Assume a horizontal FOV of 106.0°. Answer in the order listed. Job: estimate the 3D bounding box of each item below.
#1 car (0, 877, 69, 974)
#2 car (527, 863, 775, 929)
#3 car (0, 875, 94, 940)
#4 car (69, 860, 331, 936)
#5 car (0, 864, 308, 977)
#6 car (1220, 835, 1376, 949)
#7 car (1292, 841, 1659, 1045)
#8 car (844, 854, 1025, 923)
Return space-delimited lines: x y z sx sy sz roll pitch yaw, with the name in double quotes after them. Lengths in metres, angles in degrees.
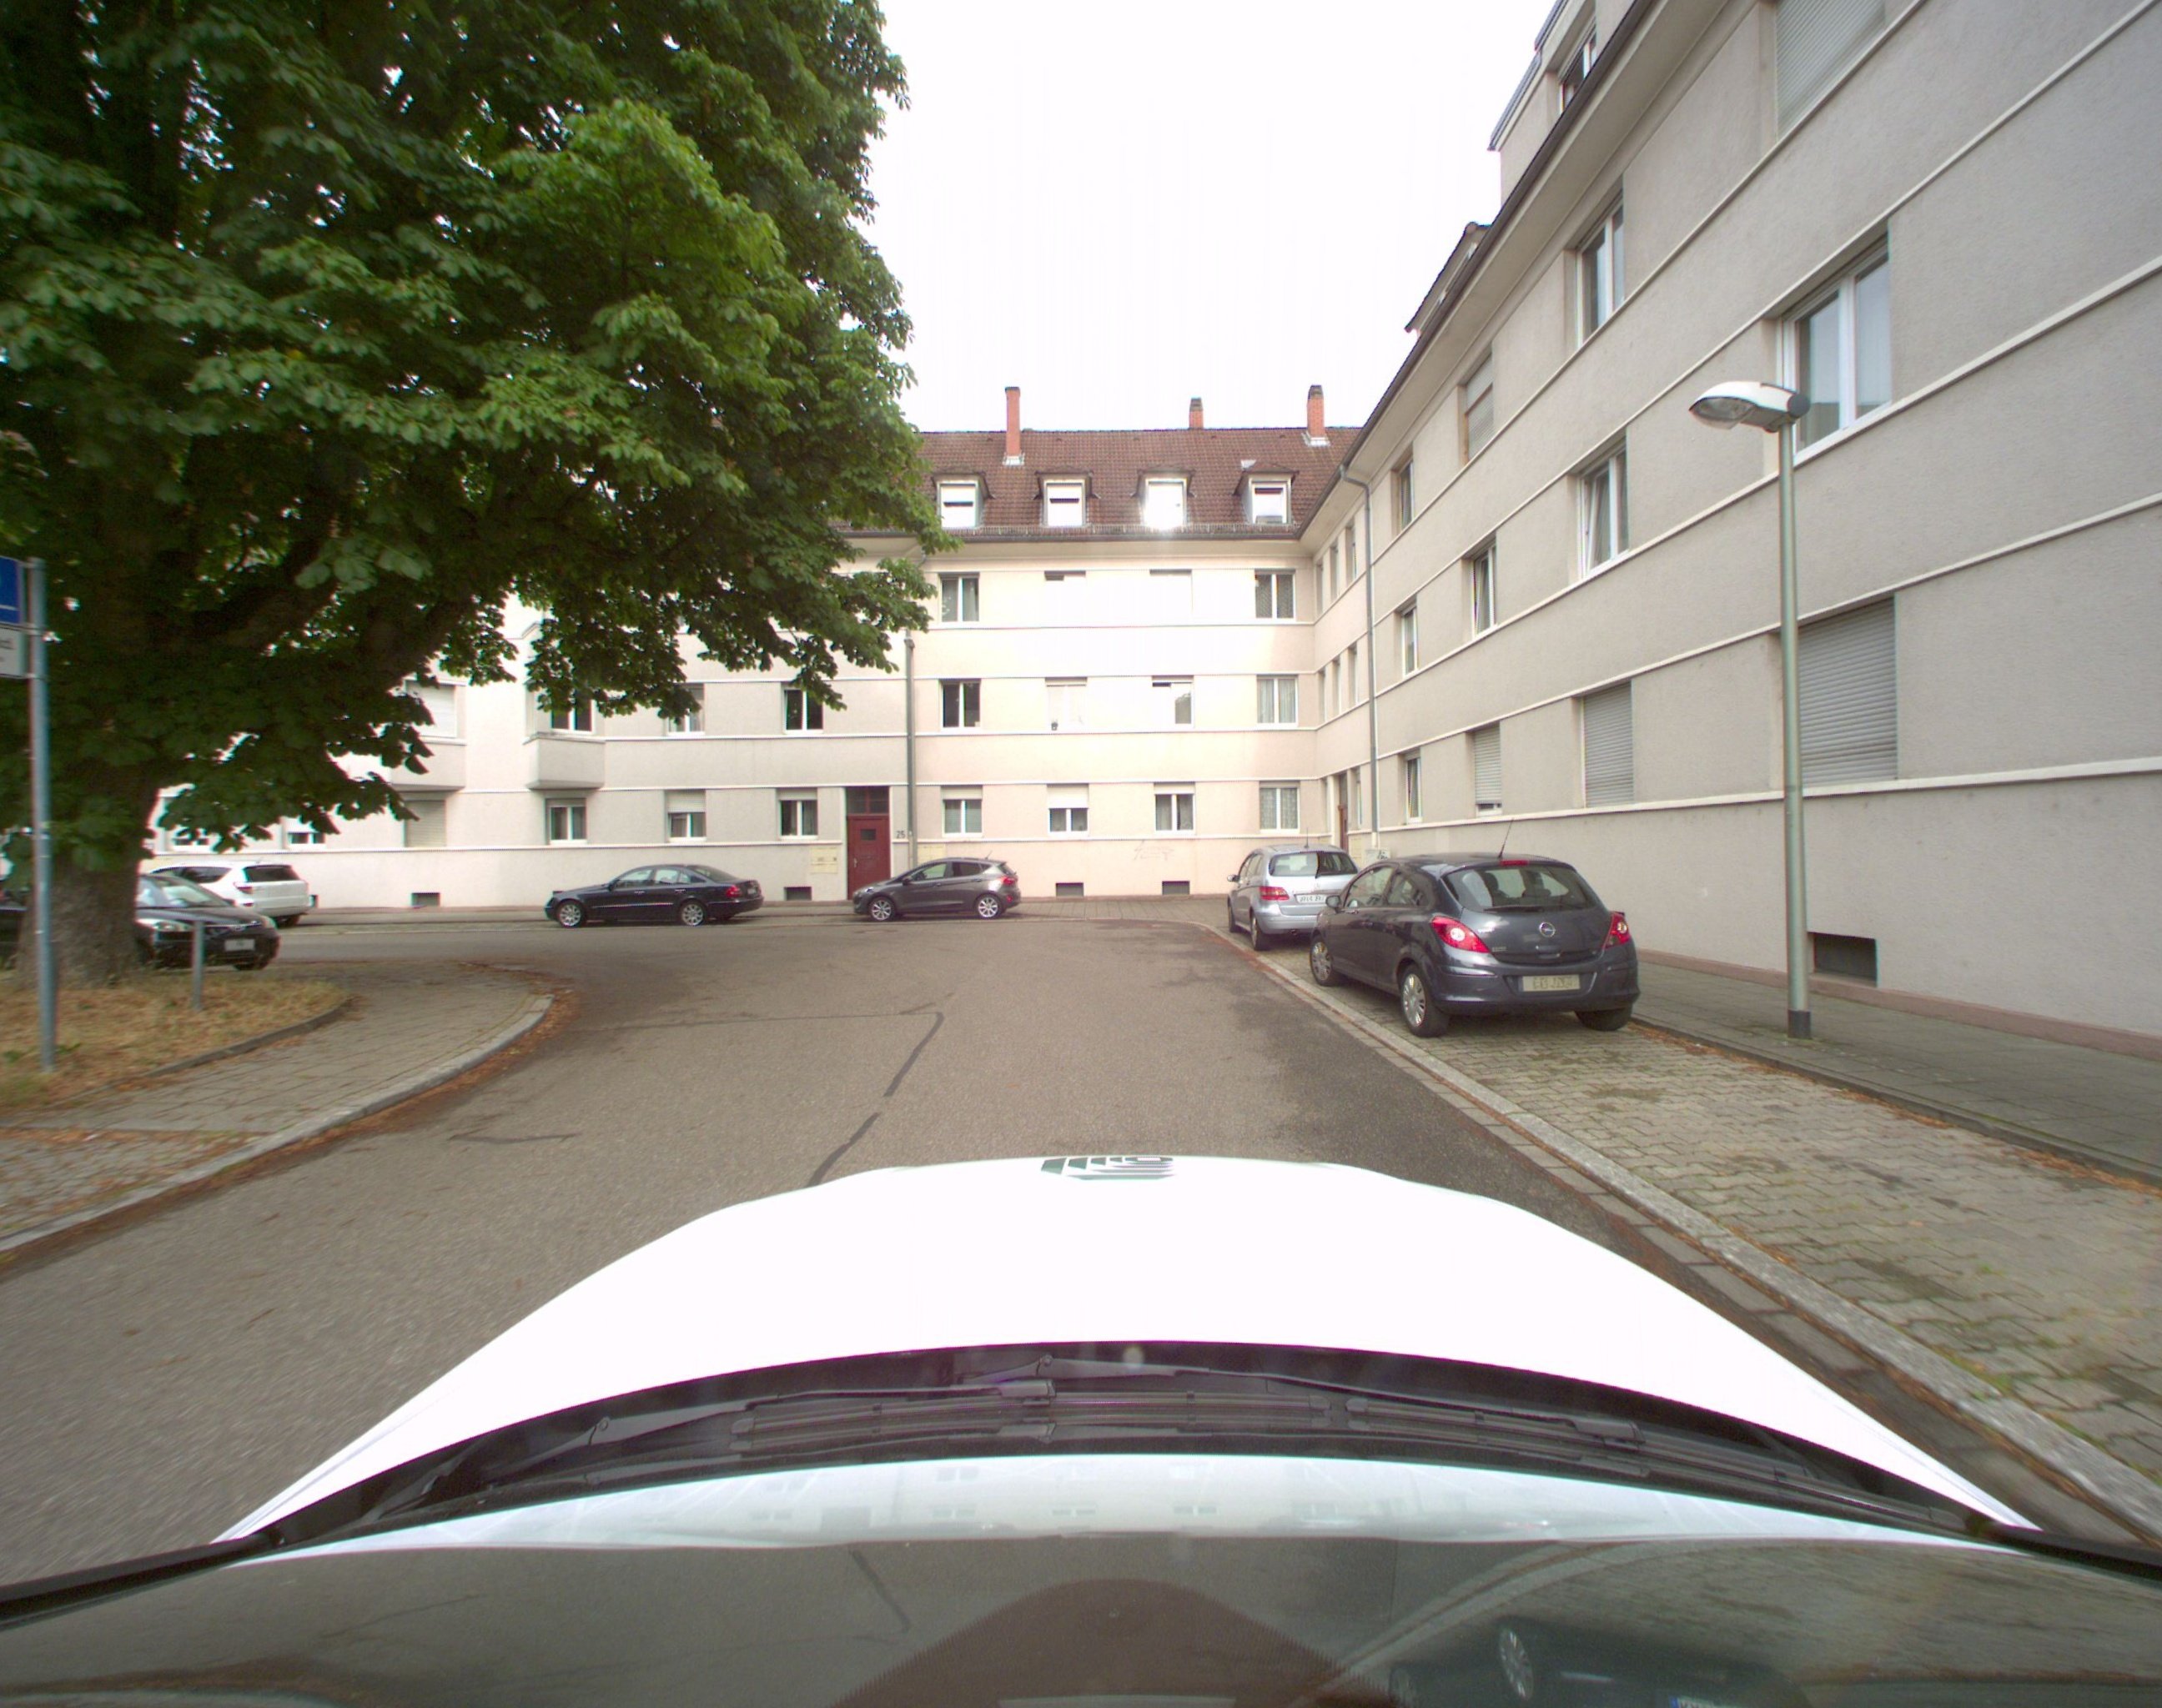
-18.743 1.104 12.190 4.801 1.465 1.873 -1 -3 1 "car"
-10.095 0.963 19.411 4.919 1.420 1.750 -1 1 -1 "car"
-26.992 1.294 19.898 3.844 1.478 1.573 -1 0 1 "car"
-21.521 1.036 20.040 4.263 1.673 1.848 -1 1 -2 "car"
-13.750 0.943 11.852 3.565 1.494 1.530 -1 -3 3 "car"
3.490 0.571 13.863 1.749 1.627 4.204 -1 -1 3 "car"
3.437 0.679 8.020 1.750 1.489 3.937 -1 -1 1 "car"
-3.437 0.791 19.717 4.054 1.525 1.762 -1 1 -1 "car"
